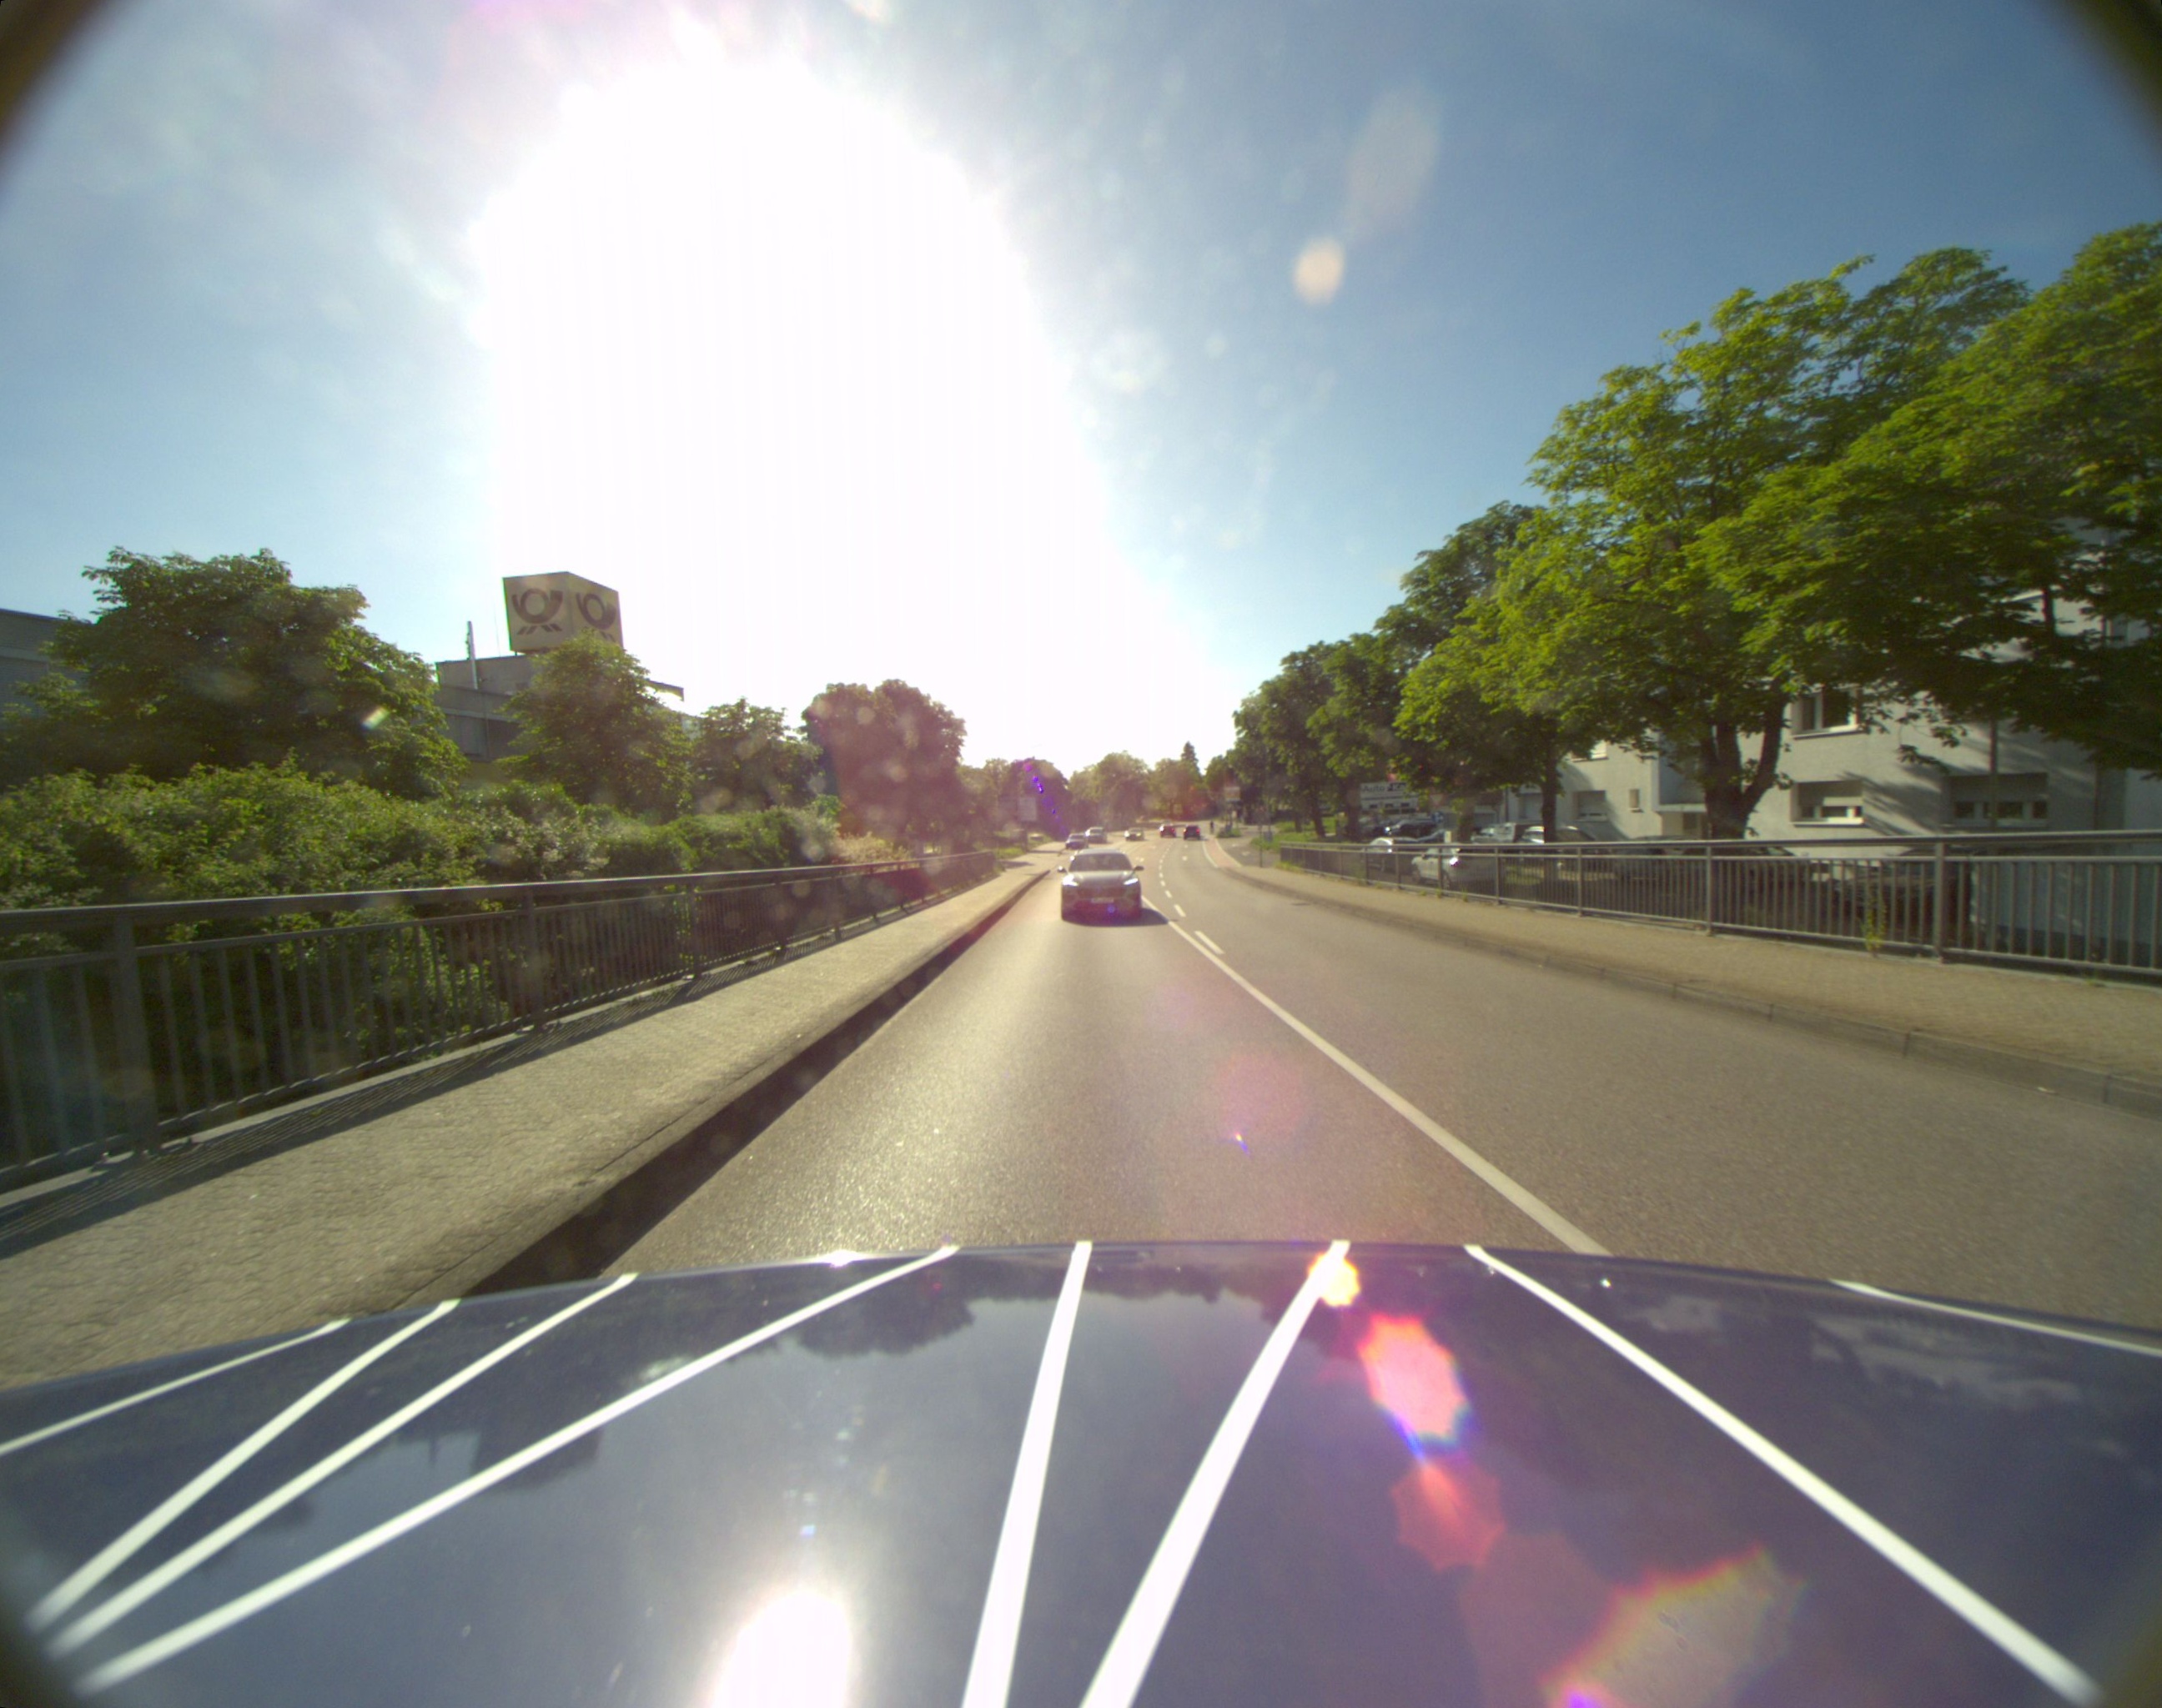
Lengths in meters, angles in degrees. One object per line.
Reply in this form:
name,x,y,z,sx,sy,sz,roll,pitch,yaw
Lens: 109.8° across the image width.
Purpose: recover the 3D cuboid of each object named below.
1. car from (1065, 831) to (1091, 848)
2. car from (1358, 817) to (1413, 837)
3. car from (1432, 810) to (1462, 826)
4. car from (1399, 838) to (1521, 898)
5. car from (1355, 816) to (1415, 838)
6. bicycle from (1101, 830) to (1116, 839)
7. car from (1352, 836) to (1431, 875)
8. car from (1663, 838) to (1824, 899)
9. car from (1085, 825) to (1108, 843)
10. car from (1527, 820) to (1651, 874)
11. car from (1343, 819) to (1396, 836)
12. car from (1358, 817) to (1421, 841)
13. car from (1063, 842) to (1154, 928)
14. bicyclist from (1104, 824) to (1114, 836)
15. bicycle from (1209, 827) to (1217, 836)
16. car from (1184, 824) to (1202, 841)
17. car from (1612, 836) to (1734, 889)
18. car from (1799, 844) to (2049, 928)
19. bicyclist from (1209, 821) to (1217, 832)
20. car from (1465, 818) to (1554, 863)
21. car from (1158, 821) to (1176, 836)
car,-0.271,-1.434,73.027,1.812,1.412,4.424,-2,3,8
car,25.811,-2.298,64.521,3.880,1.405,1.944,-4,3,-11
car,35.916,-3.563,74.603,1.742,1.454,4.001,-2,3,12
car,13.926,0.432,28.303,2.042,1.719,5.234,-4,3,2
car,24.545,-2.159,61.372,4.001,1.552,1.997,-4,3,-13
bicycle,3.973,-2.762,109.507,0.901,1.119,2.957,-1,3,32
car,14.531,0.019,35.890,2.042,1.456,4.960,-3,3,5
car,20.324,0.388,23.341,4.003,1.589,1.996,-3,2,-19
car,1.781,-2.275,85.187,1.876,1.713,4.613,0,4,10
car,21.011,-0.387,31.720,2.074,1.920,4.785,-3,3,2
car,25.571,-2.372,67.389,3.934,1.234,2.041,-4,3,-13
car,23.802,-1.929,58.673,3.999,1.602,1.920,-3,3,-5
car,0.544,0.638,18.464,1.715,1.637,4.051,-4,3,-4
bicyclist,4.021,-3.412,109.538,0.890,1.684,1.192,-1,4,32
bicycle,16.888,-2.904,97.324,0.938,1.011,2.197,-3,3,12
car,12.519,-2.434,84.950,1.856,1.726,4.271,-3,3,8
car,20.232,0.249,25.975,3.673,1.502,1.781,-4,3,-24
car,19.744,0.685,17.914,4.011,1.575,1.896,-4,3,-5
bicyclist,16.855,-3.514,97.286,0.934,1.394,0.823,-3,3,12
car,20.958,-0.722,37.417,1.751,1.920,5.101,-3,3,3
car,10.697,-3.208,94.562,1.918,1.591,3.997,-2,4,1
